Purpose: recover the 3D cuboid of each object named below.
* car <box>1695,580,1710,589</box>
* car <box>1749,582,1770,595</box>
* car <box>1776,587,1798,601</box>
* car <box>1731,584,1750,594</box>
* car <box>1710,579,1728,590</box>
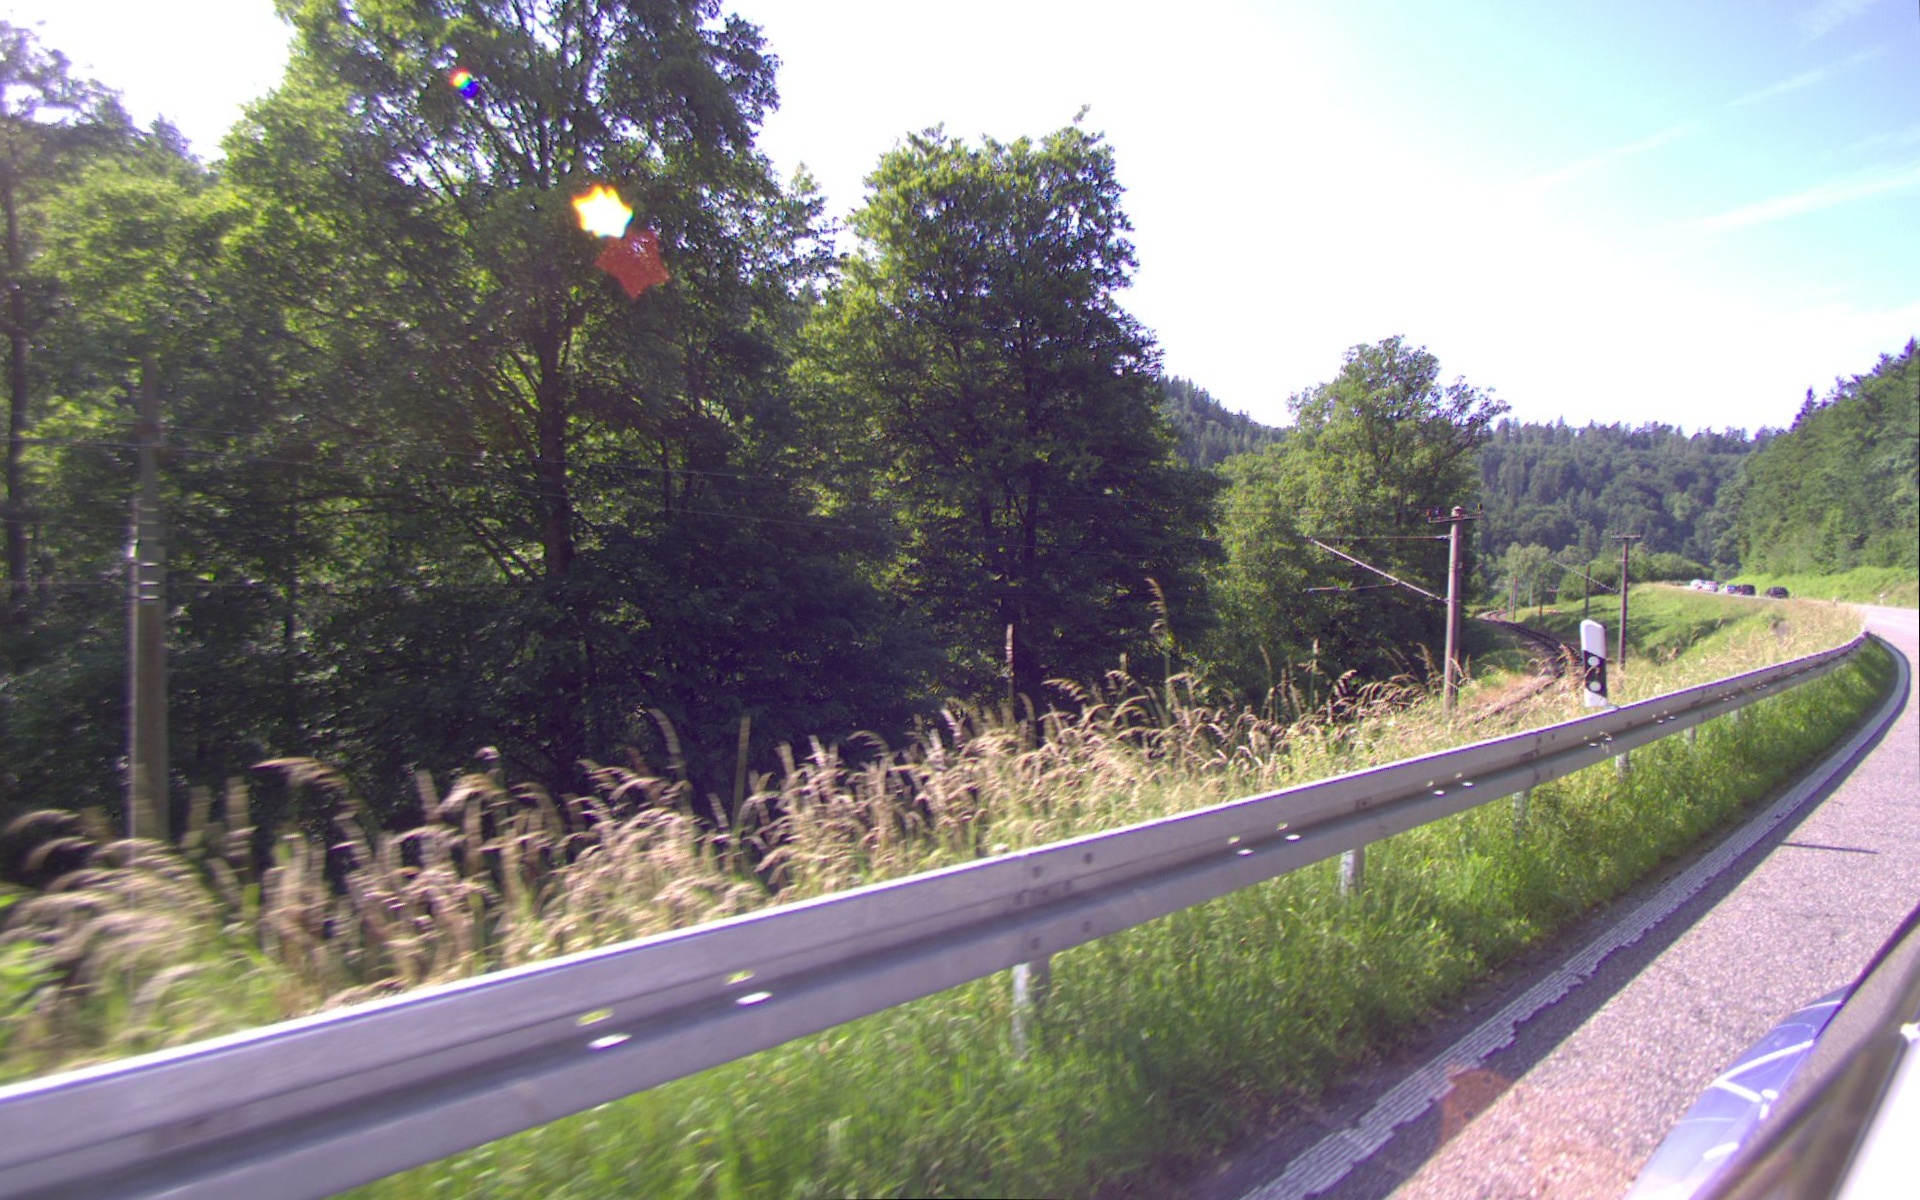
[{"bbox_3d":[144.022,-3.054,196.358,1.859,1.644,4.424,1,1,31],"label":"car"},{"bbox_3d":[104.643,-1.506,132.475,1.826,1.649,4.298,1,1,35],"label":"car"},{"bbox_3d":[94.144,-0.743,115.238,1.854,1.548,3.946,1,1,37],"label":"car"},{"bbox_3d":[111.813,-1.610,145.058,1.827,1.449,4.622,2,2,34],"label":"car"},{"bbox_3d":[126.095,-2.518,168.144,1.986,1.703,4.849,3,2,32],"label":"car"}]
